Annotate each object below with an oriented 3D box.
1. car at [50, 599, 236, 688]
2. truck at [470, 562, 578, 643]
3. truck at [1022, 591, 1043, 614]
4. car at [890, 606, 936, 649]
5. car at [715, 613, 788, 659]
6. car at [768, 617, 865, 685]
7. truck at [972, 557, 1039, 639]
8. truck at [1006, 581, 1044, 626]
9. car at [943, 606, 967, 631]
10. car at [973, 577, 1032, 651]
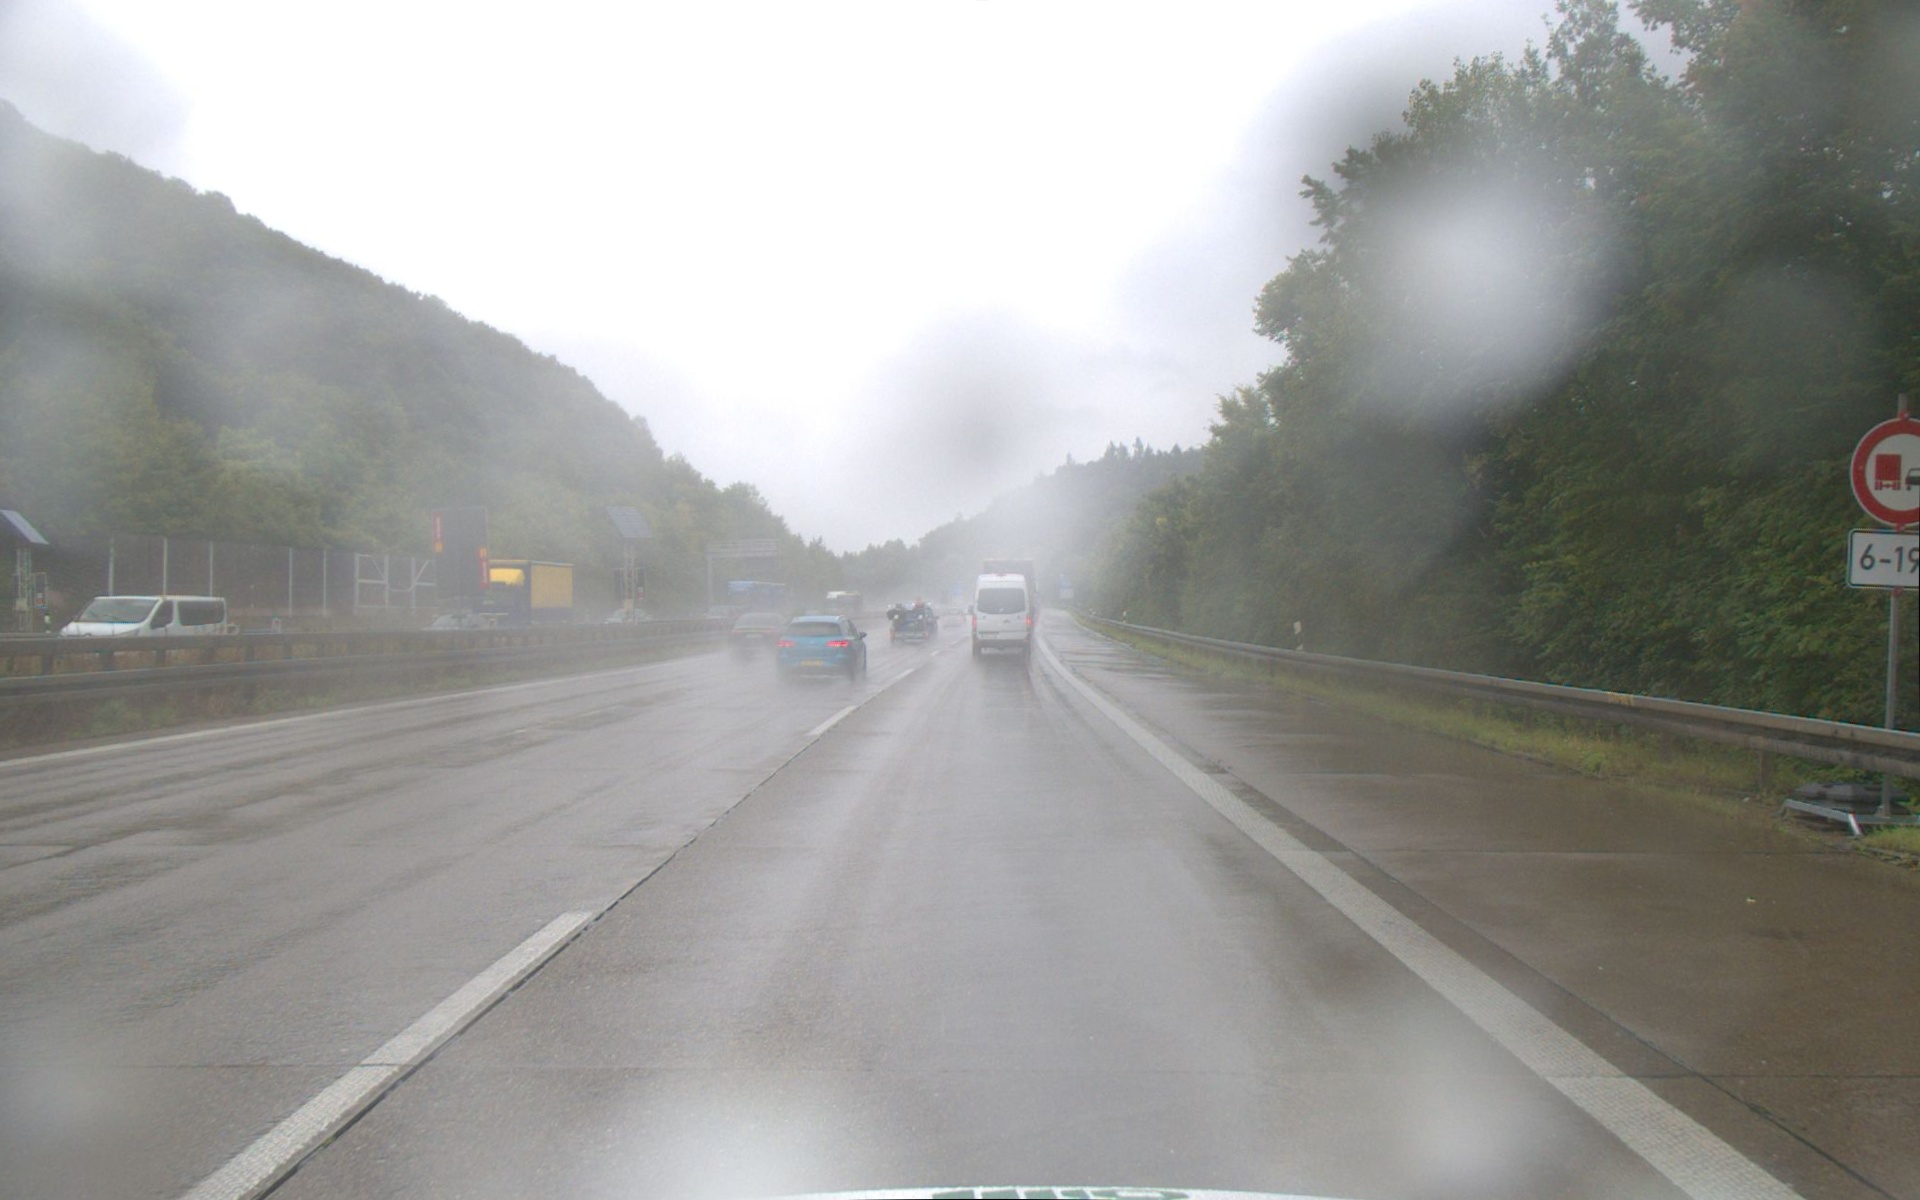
[{"bbox_3d":[-20.025,1.032,40.837,1.936,2.049,5.198,1,-1,0],"label":"car"},{"bbox_3d":[-21.571,0.115,82.481,2.531,3.765,9.801,1,0,2],"label":"truck"},{"bbox_3d":[9.974,0.331,228.155,2.532,3.033,9.026,1,0,1],"label":"truck"},{"bbox_3d":[-2.082,1.203,73.840,1.830,1.841,4.189,1,0,1],"label":"car"},{"bbox_3d":[-6.614,1.125,52.832,1.818,1.362,4.350,1,0,-1],"label":"car"},{"bbox_3d":[-3.113,1.082,36.614,1.818,1.362,4.350,1,0,-1],"label":"car"},{"bbox_3d":[2.413,-0.236,86.985,3.315,4.037,8.670,1,2,2],"label":"truck"},{"bbox_3d":[6.079,0.378,153.123,3.025,3.978,9.059,1,-1,5],"label":"truck"},{"bbox_3d":[-0.308,1.286,116.537,1.581,1.656,4.189,1,0,1],"label":"car"},{"bbox_3d":[1.415,0.462,55.666,1.860,2.375,5.251,1,0,1],"label":"car"}]
